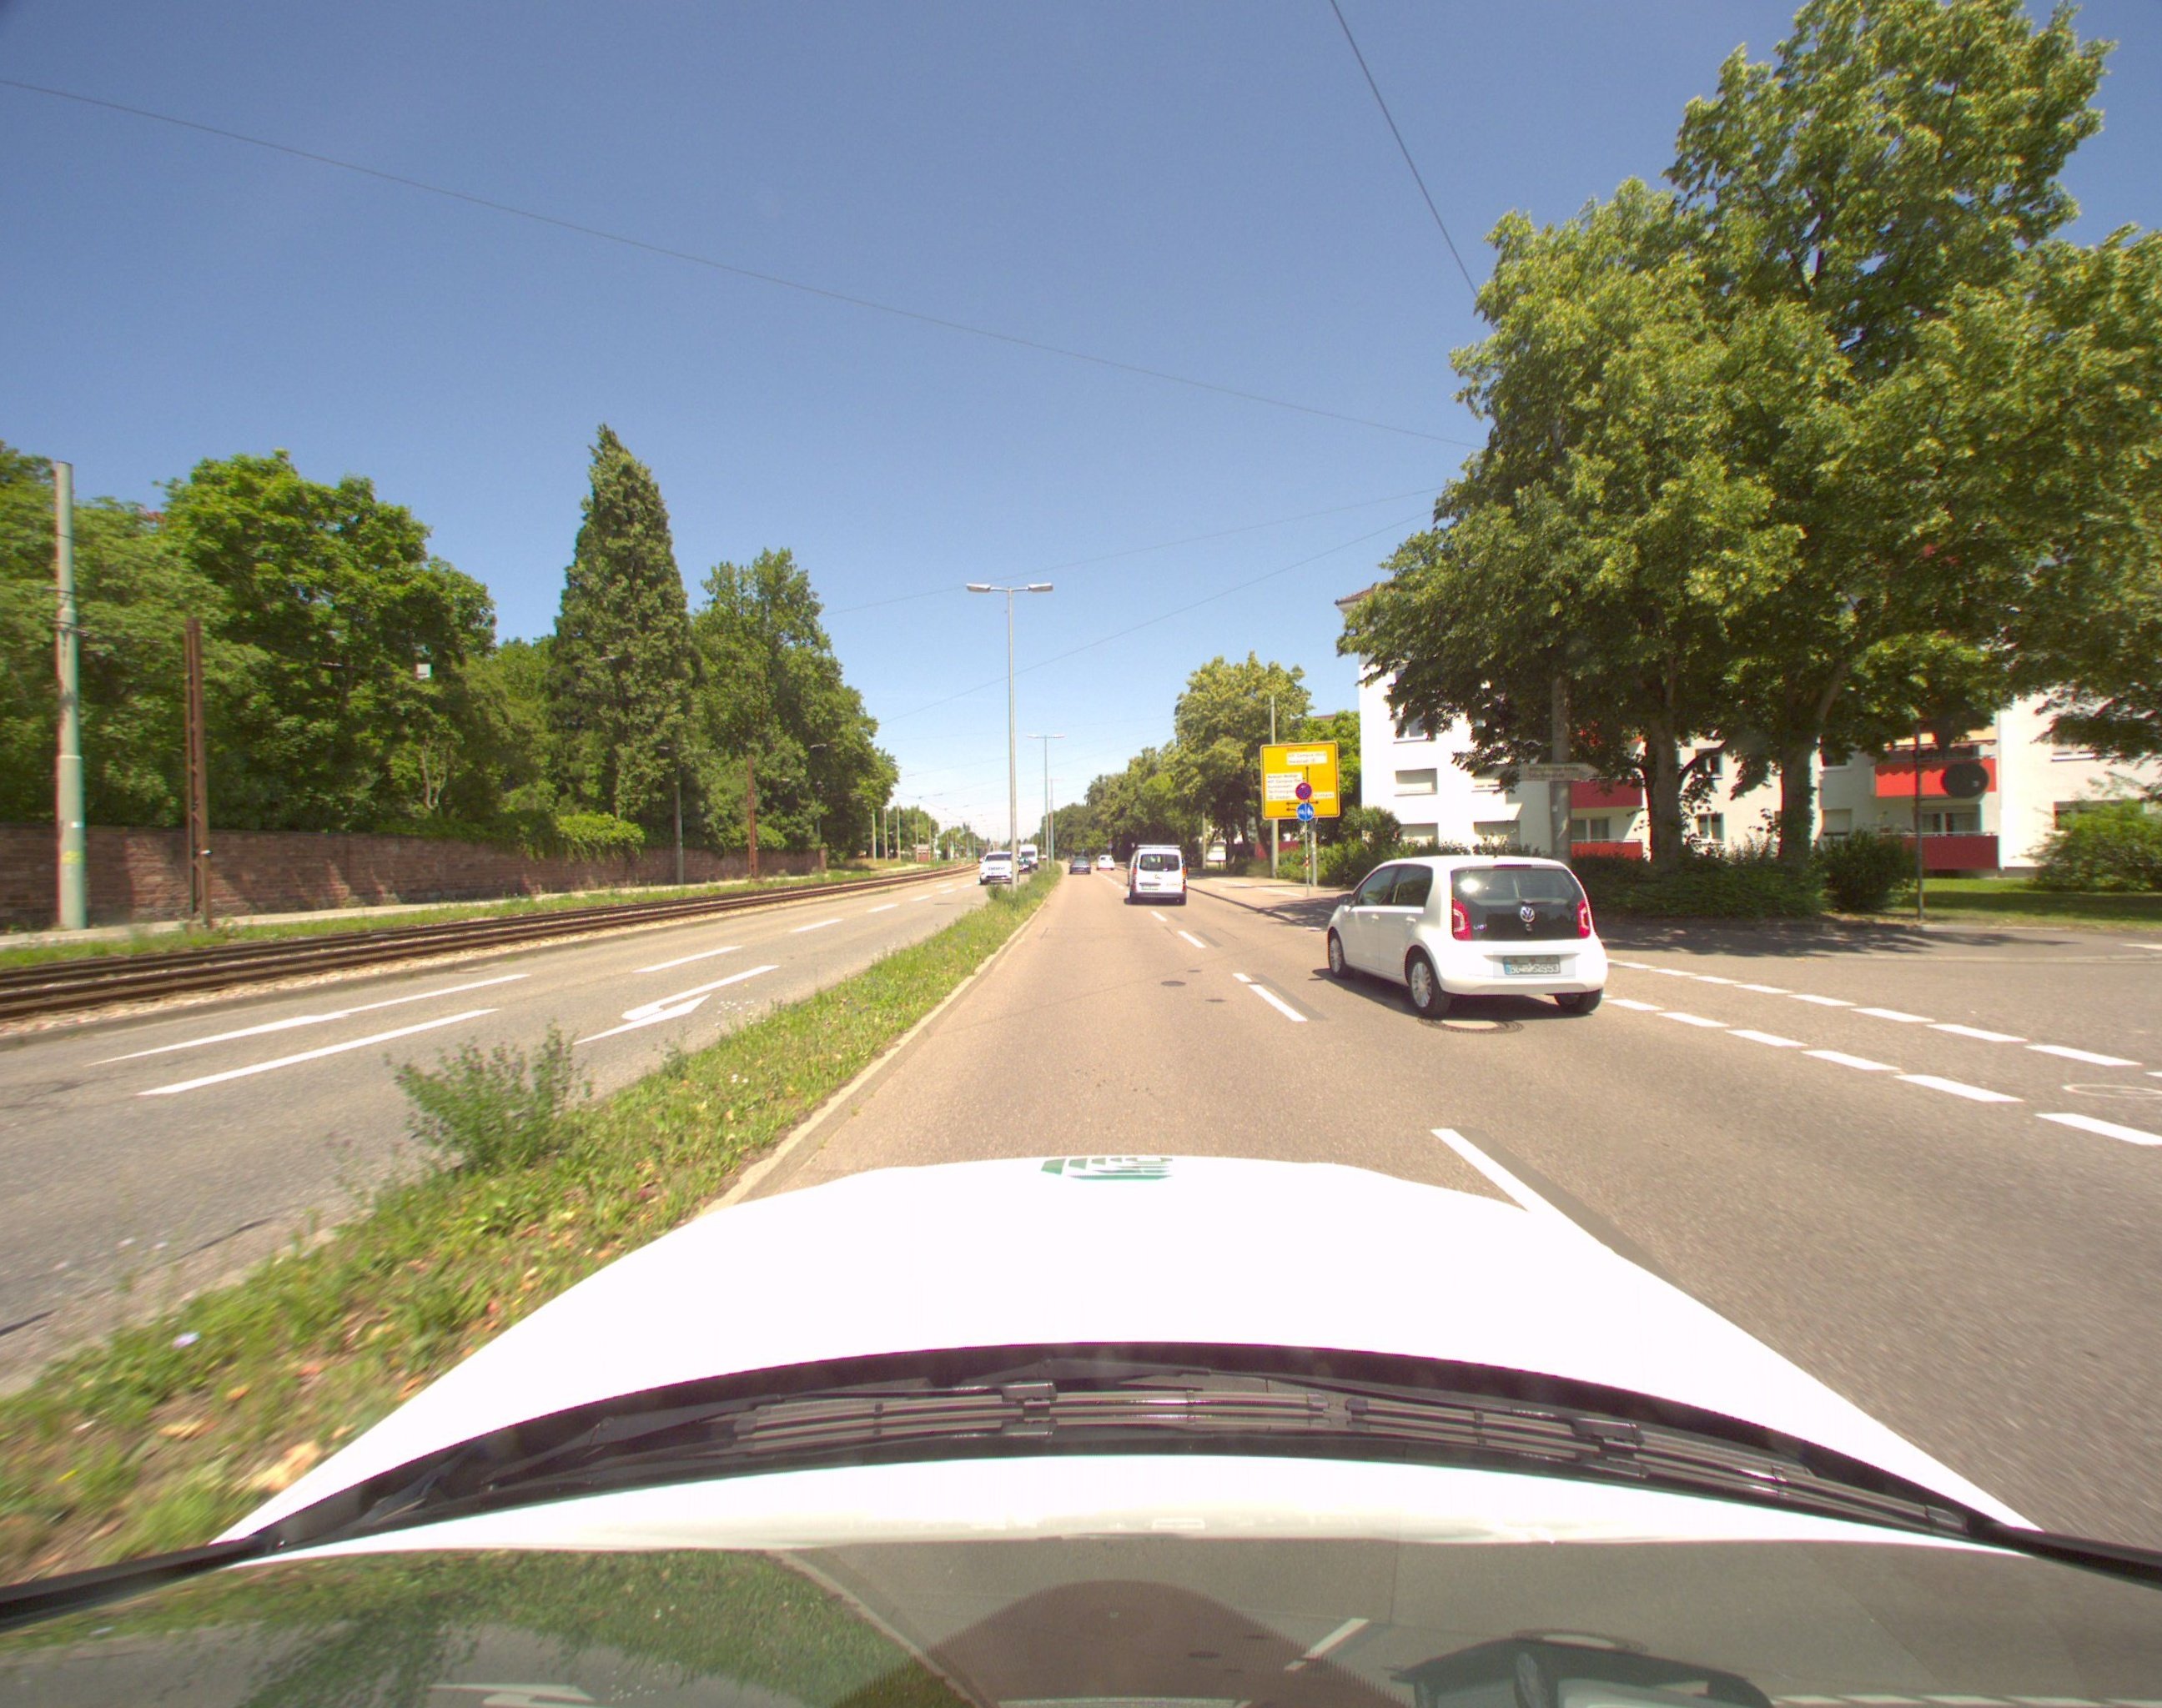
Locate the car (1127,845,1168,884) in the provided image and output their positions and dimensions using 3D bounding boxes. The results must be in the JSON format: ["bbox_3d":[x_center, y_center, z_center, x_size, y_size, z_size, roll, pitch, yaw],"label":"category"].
[{"bbox_3d":[3.266,0.510,40.604,1.722,1.814,4.001,1,0,1],"label":"car"}]

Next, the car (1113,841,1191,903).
[{"bbox_3d":[2.261,0.579,27.046,1.821,1.882,4.447,0,0,-5],"label":"car"}]

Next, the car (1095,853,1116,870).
[{"bbox_3d":[2.536,0.769,84.246,1.798,1.540,3.997,5,-1,-2],"label":"car"}]

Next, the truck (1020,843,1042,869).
[{"bbox_3d":[-5.457,0.192,89.121,2.075,2.748,5.544,-2,0,-1],"label":"truck"}]

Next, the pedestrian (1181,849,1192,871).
[{"bbox_3d":[7.725,0.444,59.715,0.667,1.644,0.856,0,-1,-2],"label":"pedestrian"}]

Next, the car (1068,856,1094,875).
[{"bbox_3d":[-0.033,0.948,66.154,1.798,1.486,3.994,0,-1,-4],"label":"car"}]

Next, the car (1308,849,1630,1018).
[{"bbox_3d":[3.887,0.698,8.958,1.654,1.449,3.852,0,0,-1],"label":"car"}]

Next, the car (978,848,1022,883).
[{"bbox_3d":[-4.451,0.594,45.290,1.894,1.748,4.587,-2,0,0],"label":"car"}]

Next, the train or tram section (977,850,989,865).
[{"bbox_3d":[-25.769,1.004,215.485,2.784,3.668,25.941,0,0,-6],"label":"train or tram section"}]

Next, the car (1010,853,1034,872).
[{"bbox_3d":[-4.869,0.677,67.917,1.711,1.458,3.912,-2,0,-1],"label":"car"}]

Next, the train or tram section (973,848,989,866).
[{"bbox_3d":[-22.446,0.807,184.010,2.784,3.668,37.434,0,0,-6],"label":"train or tram section"}]
